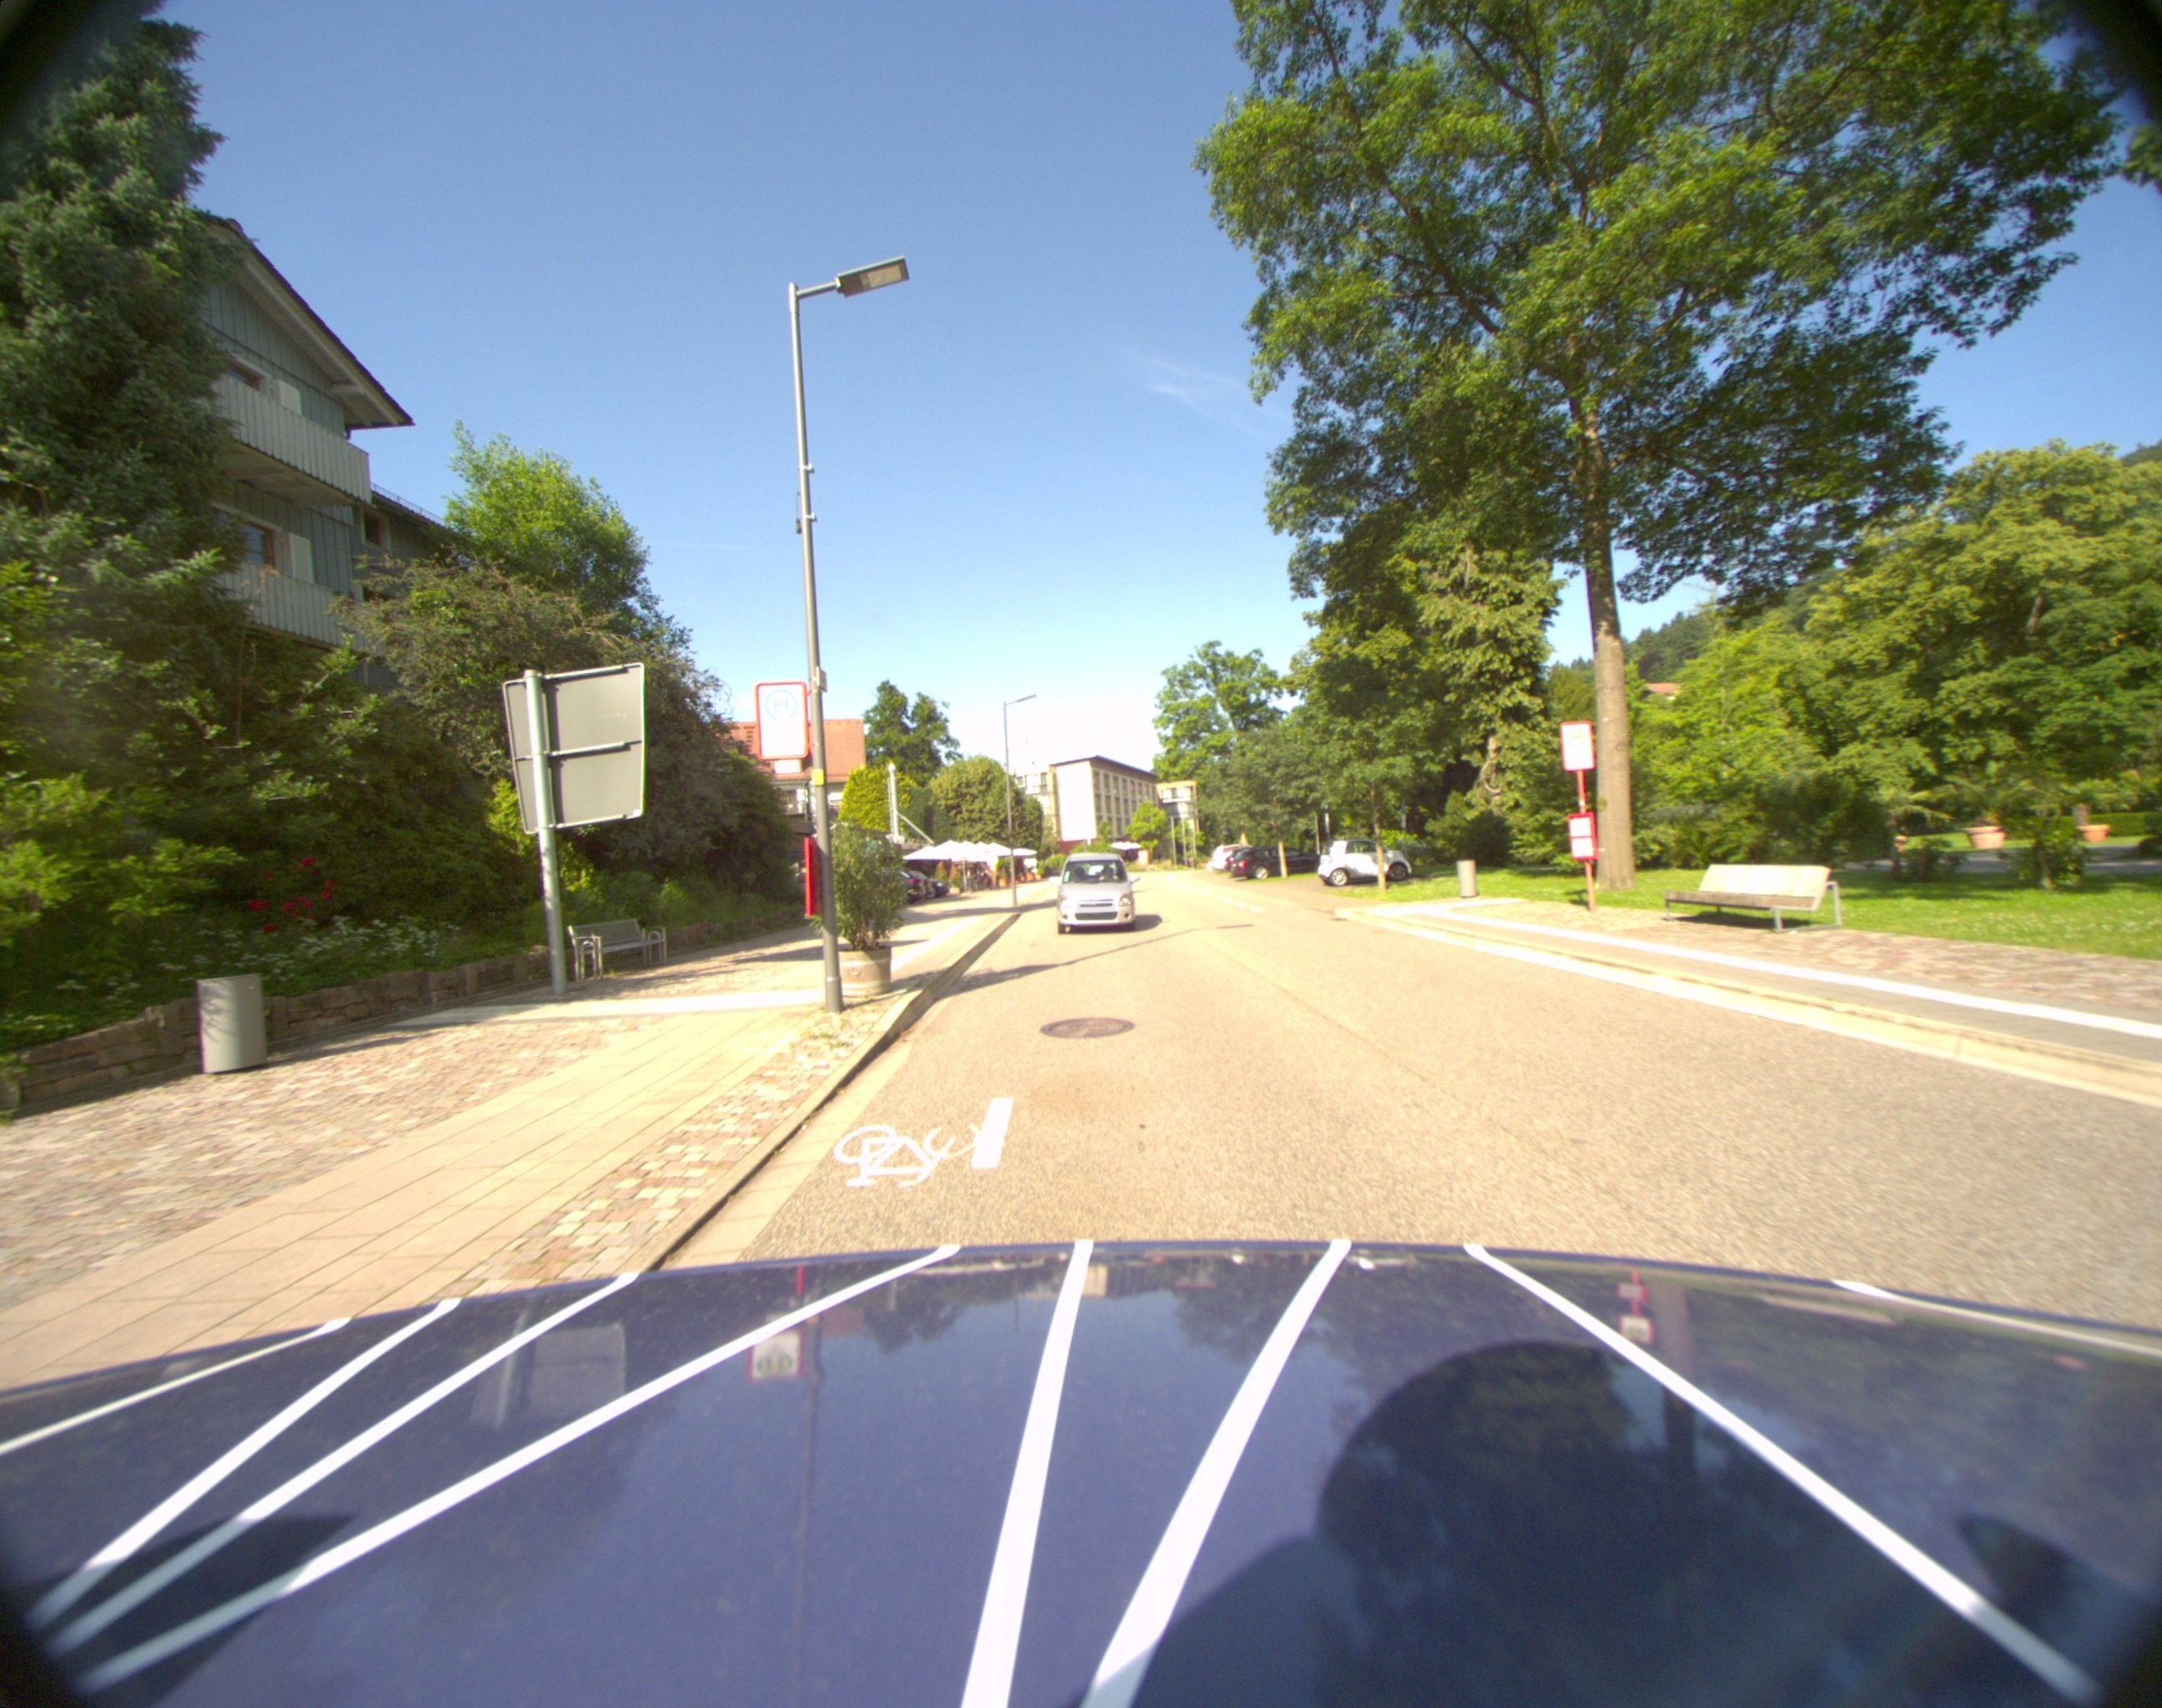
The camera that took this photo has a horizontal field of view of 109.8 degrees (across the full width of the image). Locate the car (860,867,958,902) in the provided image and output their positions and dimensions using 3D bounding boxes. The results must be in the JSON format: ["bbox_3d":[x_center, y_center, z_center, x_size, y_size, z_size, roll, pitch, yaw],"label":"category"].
[{"bbox_3d":[-8.372,1.471,37.131,4.272,1.371,1.709,-4,1,3],"label":"car"}]

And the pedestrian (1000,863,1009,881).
[{"bbox_3d":[-5.327,1.229,52.776,0.473,1.238,0.592,-3,1,-14],"label":"pedestrian"}]

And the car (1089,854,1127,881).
[{"bbox_3d":[1.672,0.814,46.155,1.739,1.488,3.933,-3,-1,10],"label":"car"}]

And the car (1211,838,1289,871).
[{"bbox_3d":[10.423,0.030,47.060,4.491,1.409,1.811,-8,1,12],"label":"car"}]

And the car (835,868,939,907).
[{"bbox_3d":[-8.697,1.472,34.213,4.119,1.407,1.748,-4,1,3],"label":"car"}]

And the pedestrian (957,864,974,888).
[{"bbox_3d":[-7.011,1.335,45.980,0.701,1.373,0.811,-4,1,-28],"label":"pedestrian"}]

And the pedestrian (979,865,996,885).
[{"bbox_3d":[-6.123,1.375,49.600,0.810,1.253,0.701,-3,1,21],"label":"pedestrian"}]

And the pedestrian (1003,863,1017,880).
[{"bbox_3d":[-5.504,1.373,58.945,0.950,1.276,0.645,-3,0,0],"label":"pedestrian"}]

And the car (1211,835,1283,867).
[{"bbox_3d":[11.431,-0.202,52.514,4.493,1.654,1.810,-6,1,4],"label":"car"}]

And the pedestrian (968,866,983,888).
[{"bbox_3d":[-6.202,1.352,44.612,0.812,1.253,0.700,-3,1,-7],"label":"pedestrian"}]

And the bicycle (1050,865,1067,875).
[{"bbox_3d":[-2.003,1.440,67.787,1.544,0.904,0.385,-1,0,35],"label":"bicycle"}]

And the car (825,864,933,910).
[{"bbox_3d":[-8.255,1.348,31.317,3.886,1.571,1.748,-4,0,-2],"label":"car"}]

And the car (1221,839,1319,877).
[{"bbox_3d":[9.677,0.191,39.175,4.505,1.501,1.713,-6,0,0],"label":"car"}]

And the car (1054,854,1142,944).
[{"bbox_3d":[0.261,0.861,16.480,1.605,1.628,3.999,-2,0,-2],"label":"car"}]

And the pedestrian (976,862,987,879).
[{"bbox_3d":[-7.658,1.268,58.407,0.507,1.224,0.700,-3,0,22],"label":"pedestrian"}]

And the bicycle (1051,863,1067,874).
[{"bbox_3d":[-1.975,1.287,68.779,1.544,0.977,0.385,-2,0,35],"label":"bicycle"}]

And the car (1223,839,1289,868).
[{"bbox_3d":[11.458,-0.060,50.009,3.995,1.424,1.720,-6,1,7],"label":"car"}]

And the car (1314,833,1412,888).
[{"bbox_3d":[9.494,0.211,25.747,2.656,1.538,1.683,-6,1,7],"label":"car"}]

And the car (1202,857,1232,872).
[{"bbox_3d":[16.693,1.303,93.227,1.652,1.462,4.006,-6,0,43],"label":"car"}]

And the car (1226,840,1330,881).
[{"bbox_3d":[9.183,0.290,35.544,4.288,1.423,1.712,-6,1,-5],"label":"car"}]
